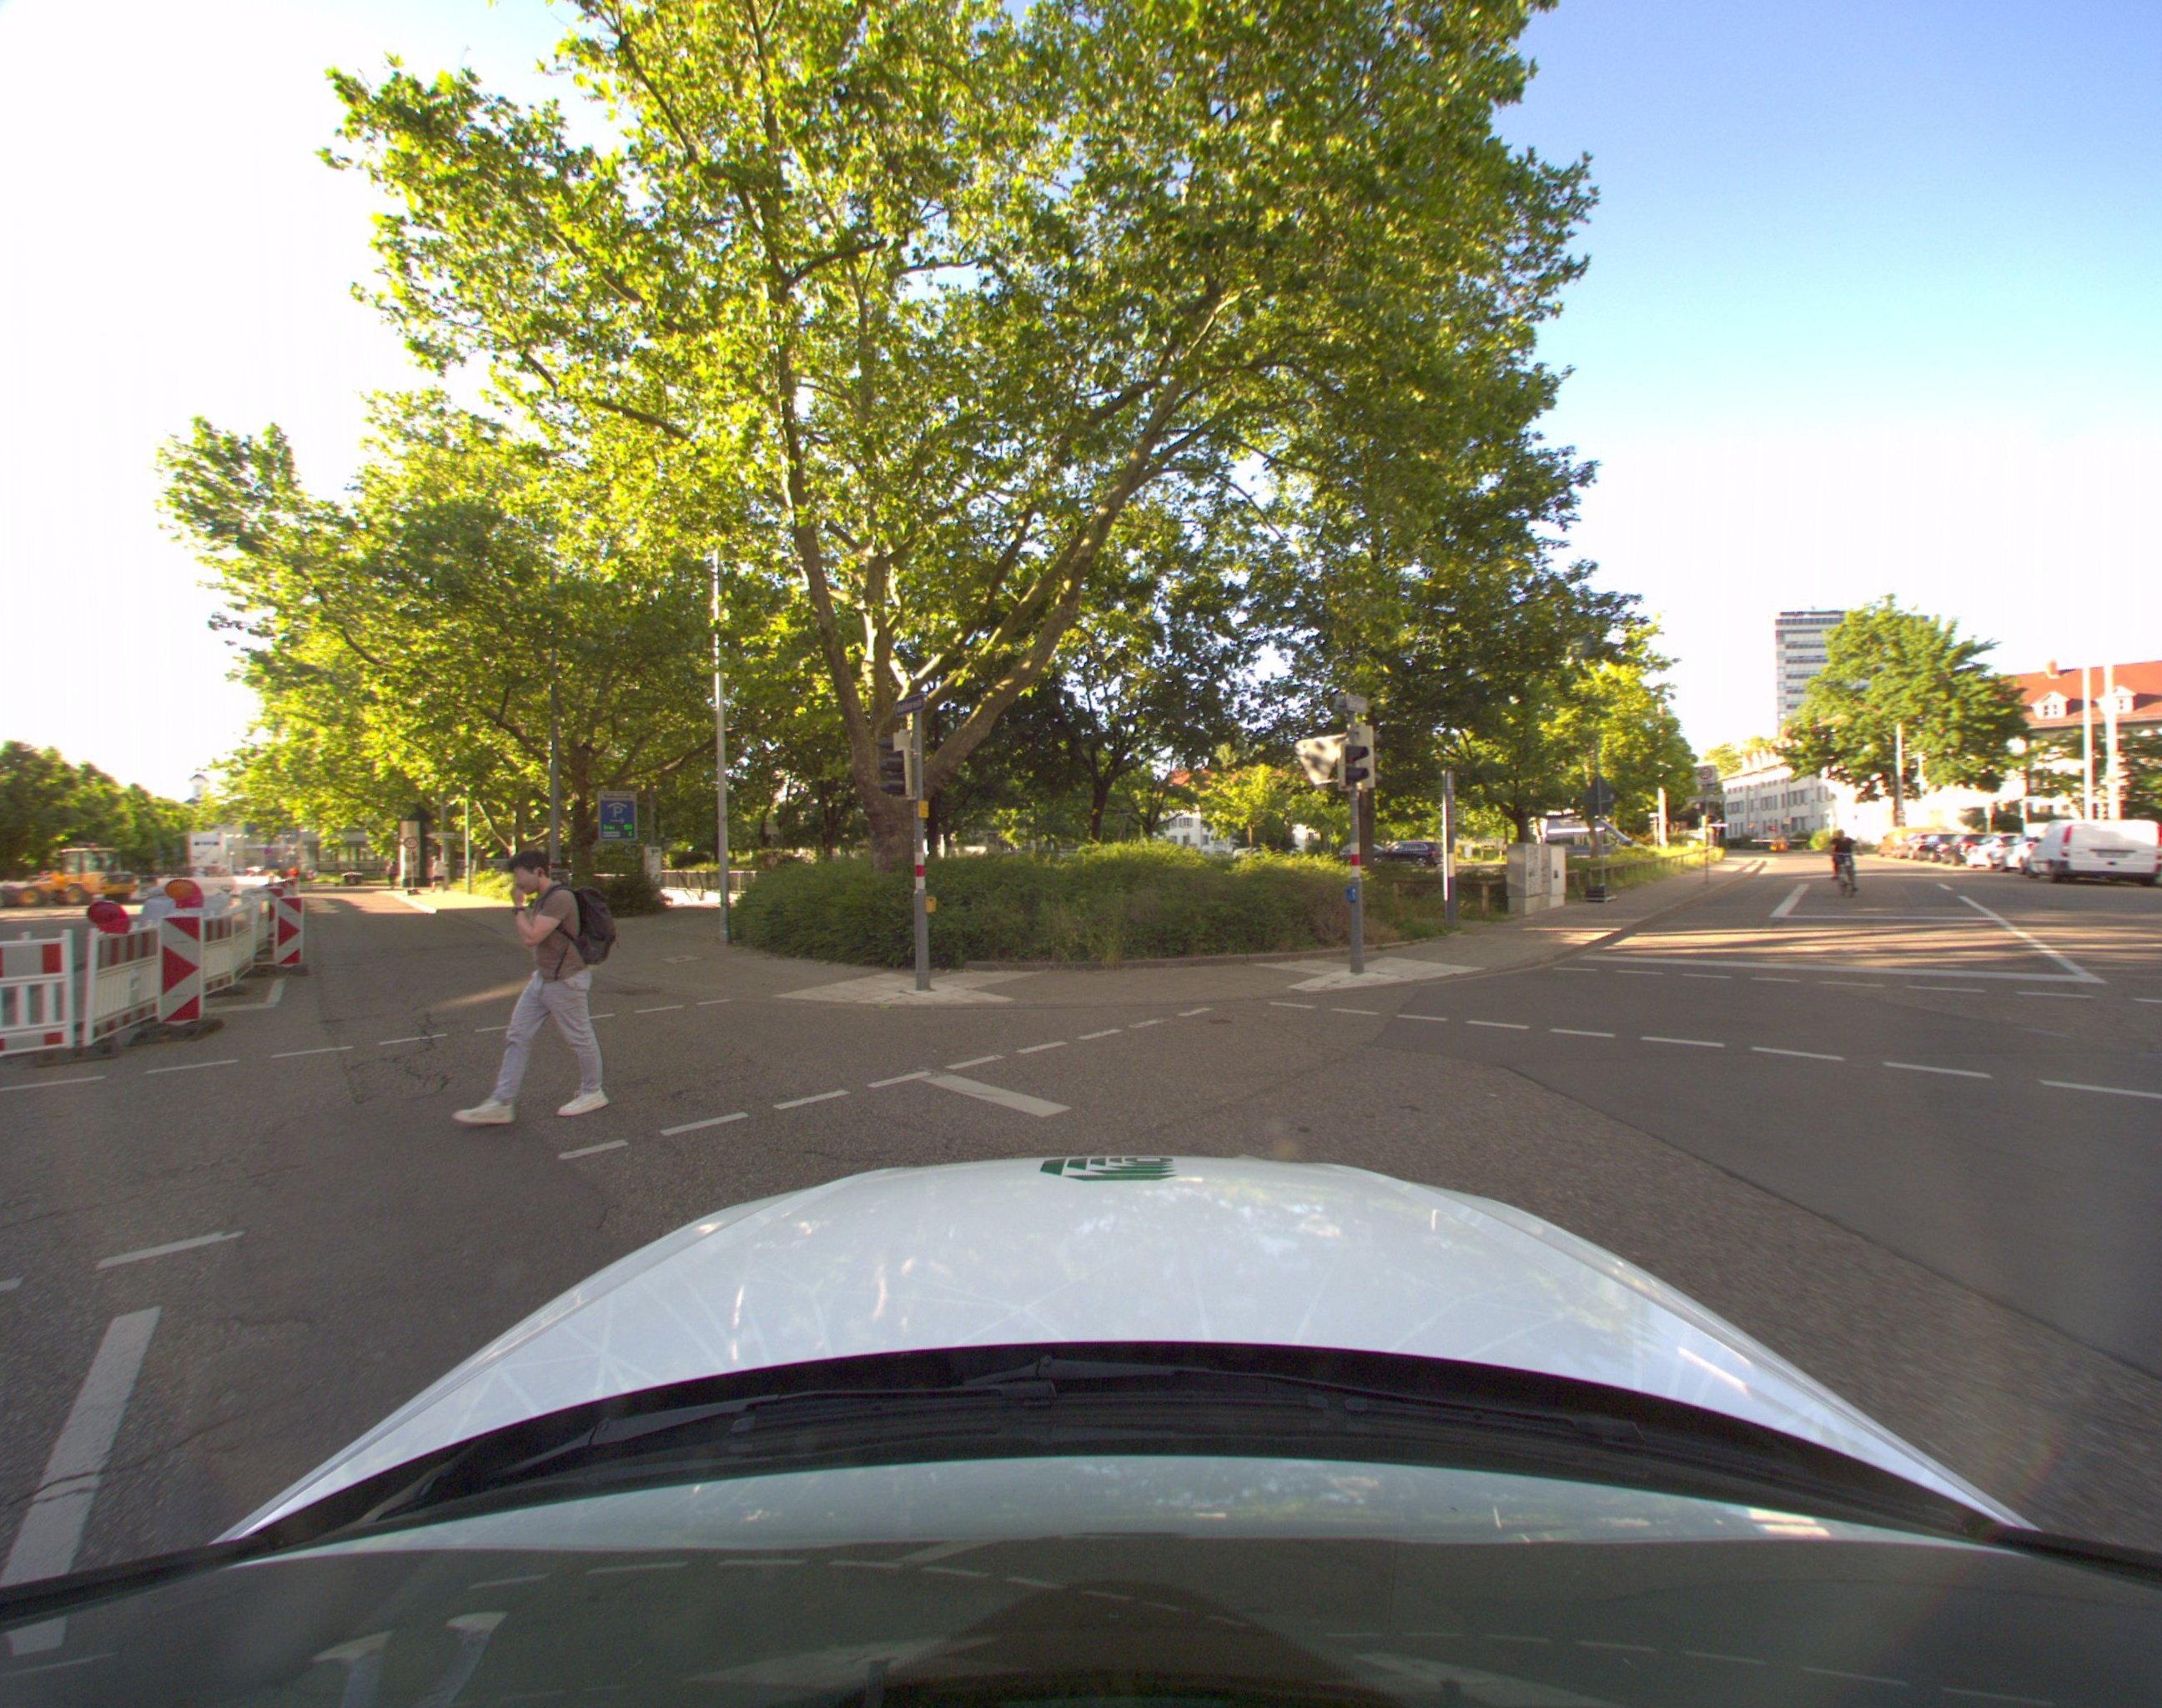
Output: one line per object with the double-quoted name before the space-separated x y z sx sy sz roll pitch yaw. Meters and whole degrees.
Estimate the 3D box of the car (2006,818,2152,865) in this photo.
"car" 58.725 -0.735 48.074 5.052 2.618 2.013 0 2 32

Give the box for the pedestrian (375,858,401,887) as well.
"pedestrian" -39.791 1.085 46.750 0.929 1.623 0.713 -2 -1 15

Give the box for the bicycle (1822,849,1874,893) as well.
"bicycle" 19.074 0.400 20.299 0.709 1.017 2.037 -3 -1 38

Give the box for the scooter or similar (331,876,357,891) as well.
"scooter or similar" -48.159 1.943 53.201 0.414 0.914 1.158 -3 1 39

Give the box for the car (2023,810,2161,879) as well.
"car" 29.462 -0.290 23.788 2.083 1.828 4.748 -1 1 44

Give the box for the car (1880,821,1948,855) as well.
"car" 49.748 -0.970 48.726 2.063 1.786 4.945 -2 2 37

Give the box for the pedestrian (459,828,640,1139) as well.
"pedestrian" -3.369 0.733 5.201 0.888 1.772 0.740 -1 0 -34

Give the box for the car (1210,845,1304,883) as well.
"car" 8.799 0.499 40.912 4.258 1.811 1.798 -1 0 45

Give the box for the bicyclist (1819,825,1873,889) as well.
"bicyclist" 19.076 0.065 20.339 0.866 1.535 1.095 -1 0 38

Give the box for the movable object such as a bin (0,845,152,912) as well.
"movable object such as a bin" -50.017 1.162 39.902 5.893 3.031 2.567 -2 1 -1

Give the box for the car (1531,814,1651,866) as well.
"car" 27.264 -0.700 43.643 5.095 2.572 2.012 -1 0 45

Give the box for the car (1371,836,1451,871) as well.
"car" 20.468 -0.009 50.619 4.258 2.088 1.798 -1 0 45

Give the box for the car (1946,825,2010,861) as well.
"car" 39.651 -0.498 36.065 1.610 1.485 3.874 -1 1 44

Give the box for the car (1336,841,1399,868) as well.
"car" 21.349 0.023 60.720 1.935 1.947 3.995 1 -1 -45

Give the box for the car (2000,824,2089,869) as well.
"car" 33.671 -0.292 28.544 1.610 1.485 3.874 -1 1 44

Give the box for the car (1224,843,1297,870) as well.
"car" 10.956 0.161 49.877 1.935 1.626 3.951 0 -1 -43

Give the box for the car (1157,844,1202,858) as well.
"car" 10.591 -0.301 87.932 2.025 1.475 4.600 0 -1 -43

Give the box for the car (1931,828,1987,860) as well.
"car" 43.010 -0.509 39.960 1.610 1.485 3.874 -1 1 44

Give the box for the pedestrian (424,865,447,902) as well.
"pedestrian" -32.957 1.477 41.554 1.120 1.812 0.752 1 2 45

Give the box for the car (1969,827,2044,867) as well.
"car" 36.628 -0.295 32.313 1.610 1.485 3.874 -1 1 44
